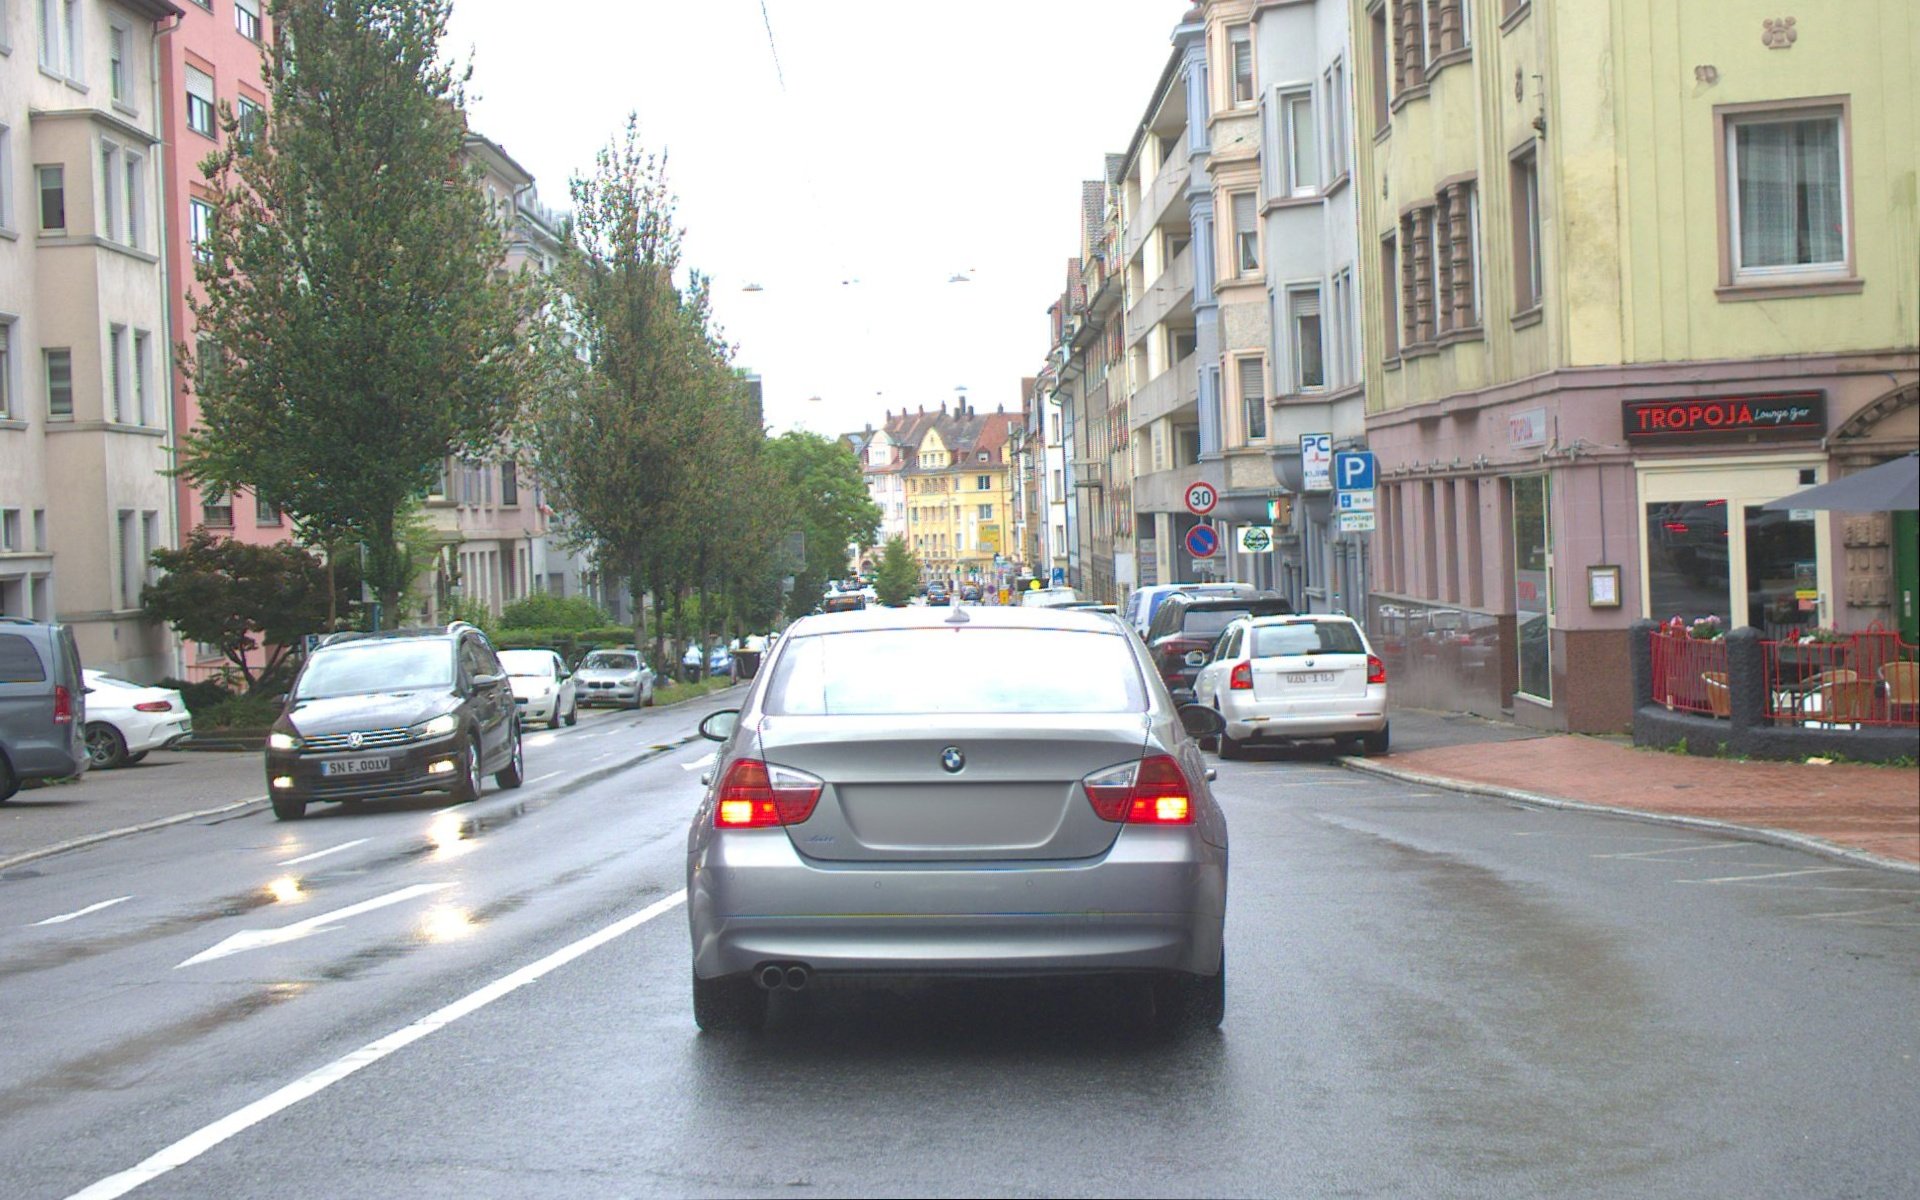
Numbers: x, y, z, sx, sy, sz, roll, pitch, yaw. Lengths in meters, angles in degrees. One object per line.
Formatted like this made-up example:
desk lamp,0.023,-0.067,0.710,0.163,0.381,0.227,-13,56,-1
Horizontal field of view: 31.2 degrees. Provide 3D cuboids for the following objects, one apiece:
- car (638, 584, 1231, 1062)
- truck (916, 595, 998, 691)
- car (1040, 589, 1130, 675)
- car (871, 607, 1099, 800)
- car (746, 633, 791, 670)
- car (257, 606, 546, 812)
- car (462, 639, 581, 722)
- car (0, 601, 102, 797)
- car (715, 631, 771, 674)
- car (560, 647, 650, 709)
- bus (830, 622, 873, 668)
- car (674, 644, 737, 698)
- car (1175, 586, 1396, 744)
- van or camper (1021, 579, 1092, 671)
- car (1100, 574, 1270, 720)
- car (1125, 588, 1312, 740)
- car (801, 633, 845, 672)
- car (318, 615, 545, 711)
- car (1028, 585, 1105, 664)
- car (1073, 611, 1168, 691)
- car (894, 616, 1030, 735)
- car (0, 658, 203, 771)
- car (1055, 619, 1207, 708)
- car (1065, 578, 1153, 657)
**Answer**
car,-0.072,0.679,12.142,1.769,1.423,3.741,0,0,0
truck,-0.098,1.115,88.785,2.032,2.404,4.827,0,-1,-1
car,3.100,0.794,86.072,1.982,2.000,4.625,-3,-1,0
car,0.218,0.795,27.410,1.682,1.423,3.740,0,-1,1
car,-8.607,2.287,154.796,1.691,1.518,3.736,-4,0,1
car,-5.058,0.948,31.683,1.621,1.643,4.419,-5,-1,3
car,-8.175,1.481,64.399,1.621,1.441,4.005,-2,0,1
car,-11.110,0.971,34.555,4.673,1.932,1.864,0,0,-9
car,-8.472,2.045,134.384,1.827,1.518,3.736,-4,0,1
car,-8.650,1.889,83.971,1.726,1.479,3.988,0,-1,1
bus,-7.580,3.134,241.771,2.668,3.014,7.670,-3,-1,0
car,-8.330,2.321,112.766,1.766,1.588,4.000,-4,0,-1
car,3.357,0.660,36.229,1.799,1.559,4.493,0,-1,-1
van or camper,3.167,0.800,111.220,2.033,2.859,6.884,1,0,3
car,3.060,0.636,47.666,1.919,1.821,5.009,-3,-1,0
car,3.058,0.748,41.553,1.879,1.726,4.676,0,-1,0
car,-5.834,2.225,147.085,1.636,1.503,3.754,-5,-1,0
car,-12.130,1.445,79.109,4.829,1.967,2.048,-3,-1,0
car,3.084,0.722,100.688,1.982,2.158,4.750,-3,-1,0
car,3.064,0.968,66.145,1.611,1.470,4.015,-1,-1,0
car,0.028,0.971,44.913,1.697,1.478,3.793,0,-1,0
car,-13.019,1.630,47.787,4.547,1.396,1.768,-3,0,0
car,2.894,1.084,59.235,1.875,1.462,4.775,0,-1,-6
car,3.411,0.417,79.352,1.726,1.664,4.288,-4,-1,0
